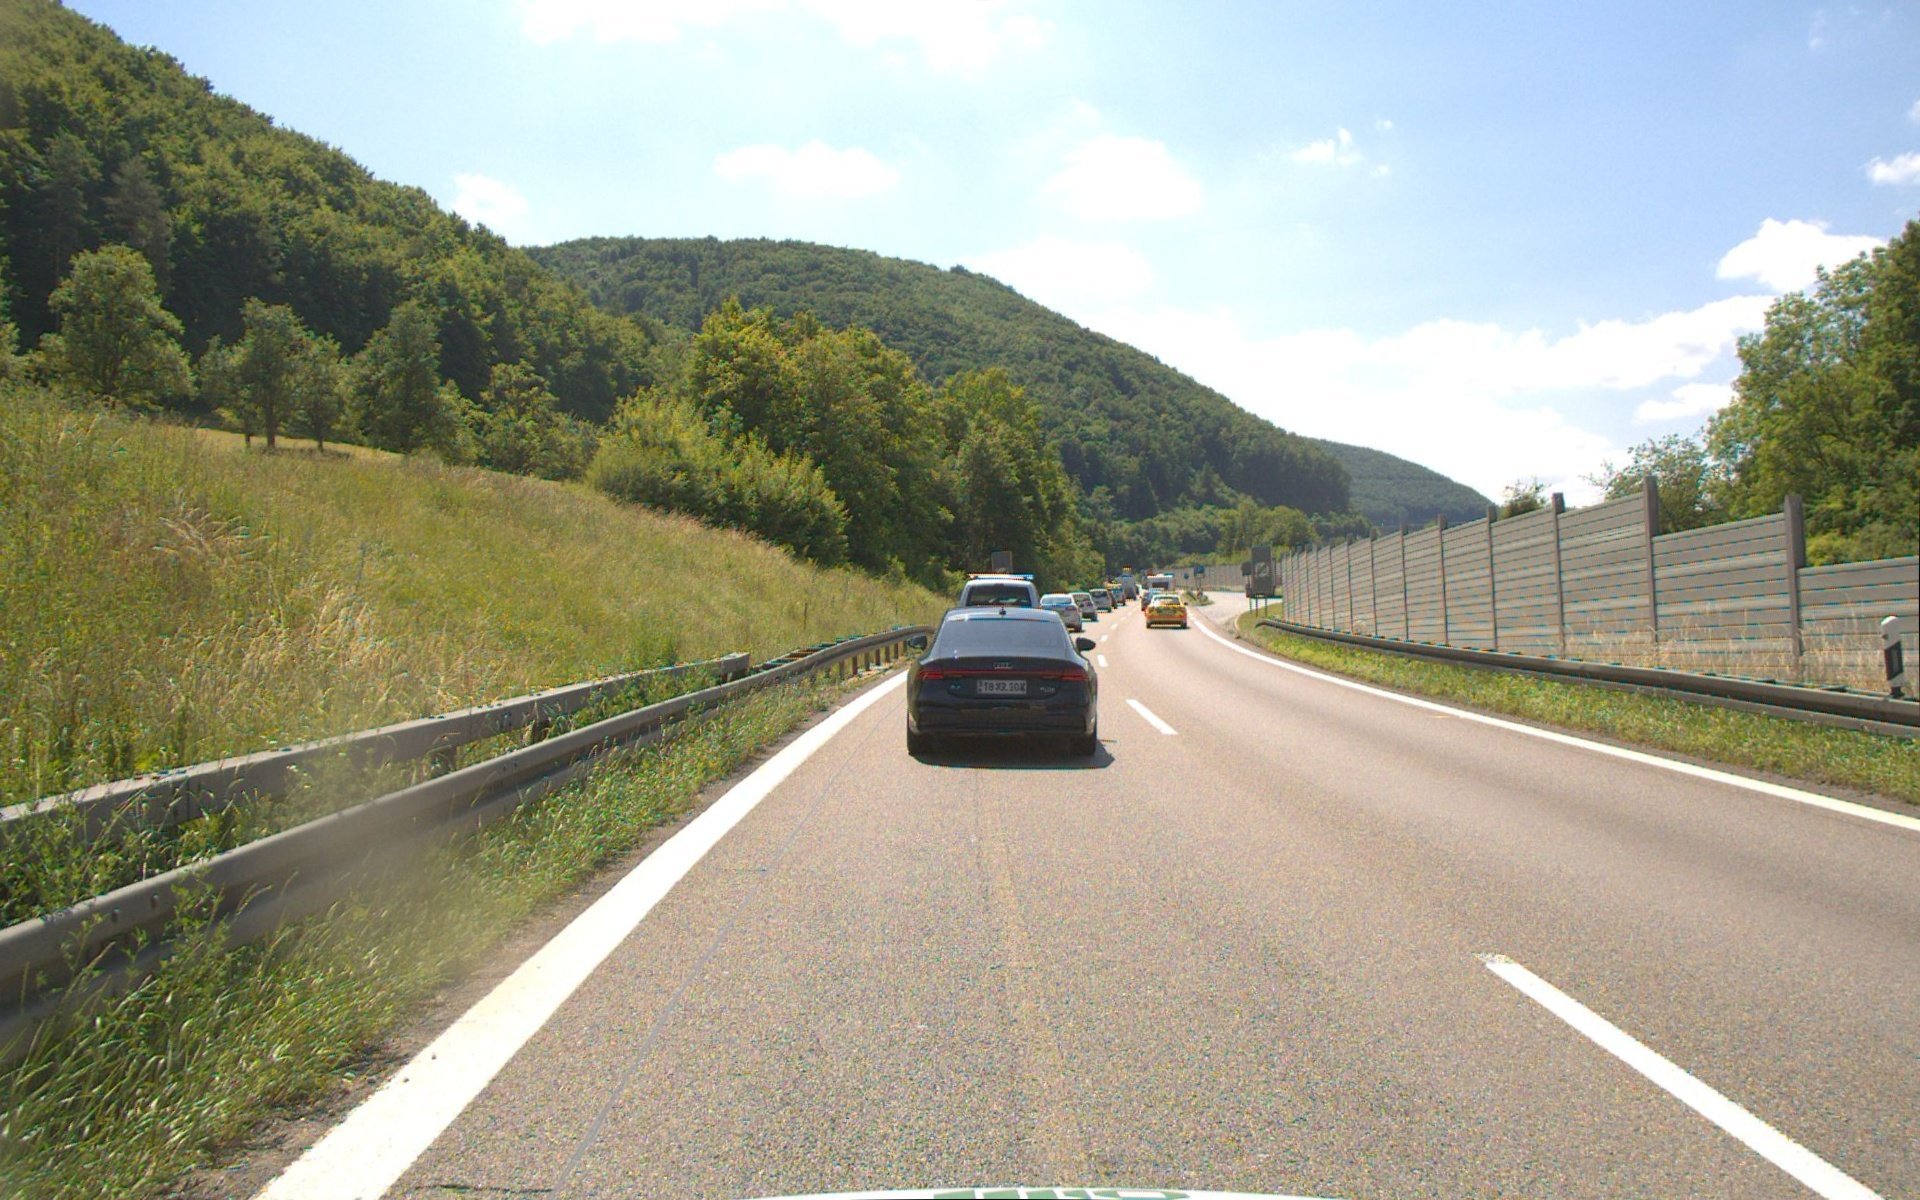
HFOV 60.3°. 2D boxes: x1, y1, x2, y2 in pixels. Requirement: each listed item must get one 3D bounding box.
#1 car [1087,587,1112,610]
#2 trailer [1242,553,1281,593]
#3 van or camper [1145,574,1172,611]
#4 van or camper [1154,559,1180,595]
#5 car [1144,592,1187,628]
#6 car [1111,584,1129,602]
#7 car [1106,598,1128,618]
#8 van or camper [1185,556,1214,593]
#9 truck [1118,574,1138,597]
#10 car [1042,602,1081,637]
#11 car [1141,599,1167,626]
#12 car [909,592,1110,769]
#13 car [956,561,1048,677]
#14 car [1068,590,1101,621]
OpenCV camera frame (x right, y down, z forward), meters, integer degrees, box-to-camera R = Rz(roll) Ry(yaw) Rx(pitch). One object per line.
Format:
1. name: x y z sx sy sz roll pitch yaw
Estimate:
1. car: 9.975 -0.082 117.867 1.489 1.580 3.517 2 0 8
2. trailer: 31.559 -2.798 173.664 3.339 3.968 11.160 0 0 7
3. van or camper: 17.863 -0.651 148.650 2.378 3.210 5.207 1 0 7
4. van or camper: 23.803 -2.662 190.668 2.736 3.975 6.170 1 0 5
5. car: 9.096 0.428 73.041 1.839 1.525 4.003 0 0 7
6. car: 15.058 -0.651 155.739 1.489 1.580 3.517 2 0 8
7. car: 12.895 0.666 135.472 1.488 1.580 3.517 2 0 9
8. van or camper: 26.561 -2.807 183.597 2.736 3.908 6.170 1 0 5
9. truck: 20.053 -1.741 197.602 2.020 2.651 5.618 2 0 9
10. car: 4.086 0.761 66.174 1.489 1.317 3.516 1 0 5
11. car: 11.582 0.768 98.568 1.497 1.552 3.599 1 0 7
12. car: 0.443 0.720 16.707 1.775 1.541 3.514 2 0 0
13. car: 0.834 0.331 31.124 1.489 2.002 3.516 2 0 5
14. car: 6.528 0.287 86.635 1.489 1.580 3.517 2 0 7
